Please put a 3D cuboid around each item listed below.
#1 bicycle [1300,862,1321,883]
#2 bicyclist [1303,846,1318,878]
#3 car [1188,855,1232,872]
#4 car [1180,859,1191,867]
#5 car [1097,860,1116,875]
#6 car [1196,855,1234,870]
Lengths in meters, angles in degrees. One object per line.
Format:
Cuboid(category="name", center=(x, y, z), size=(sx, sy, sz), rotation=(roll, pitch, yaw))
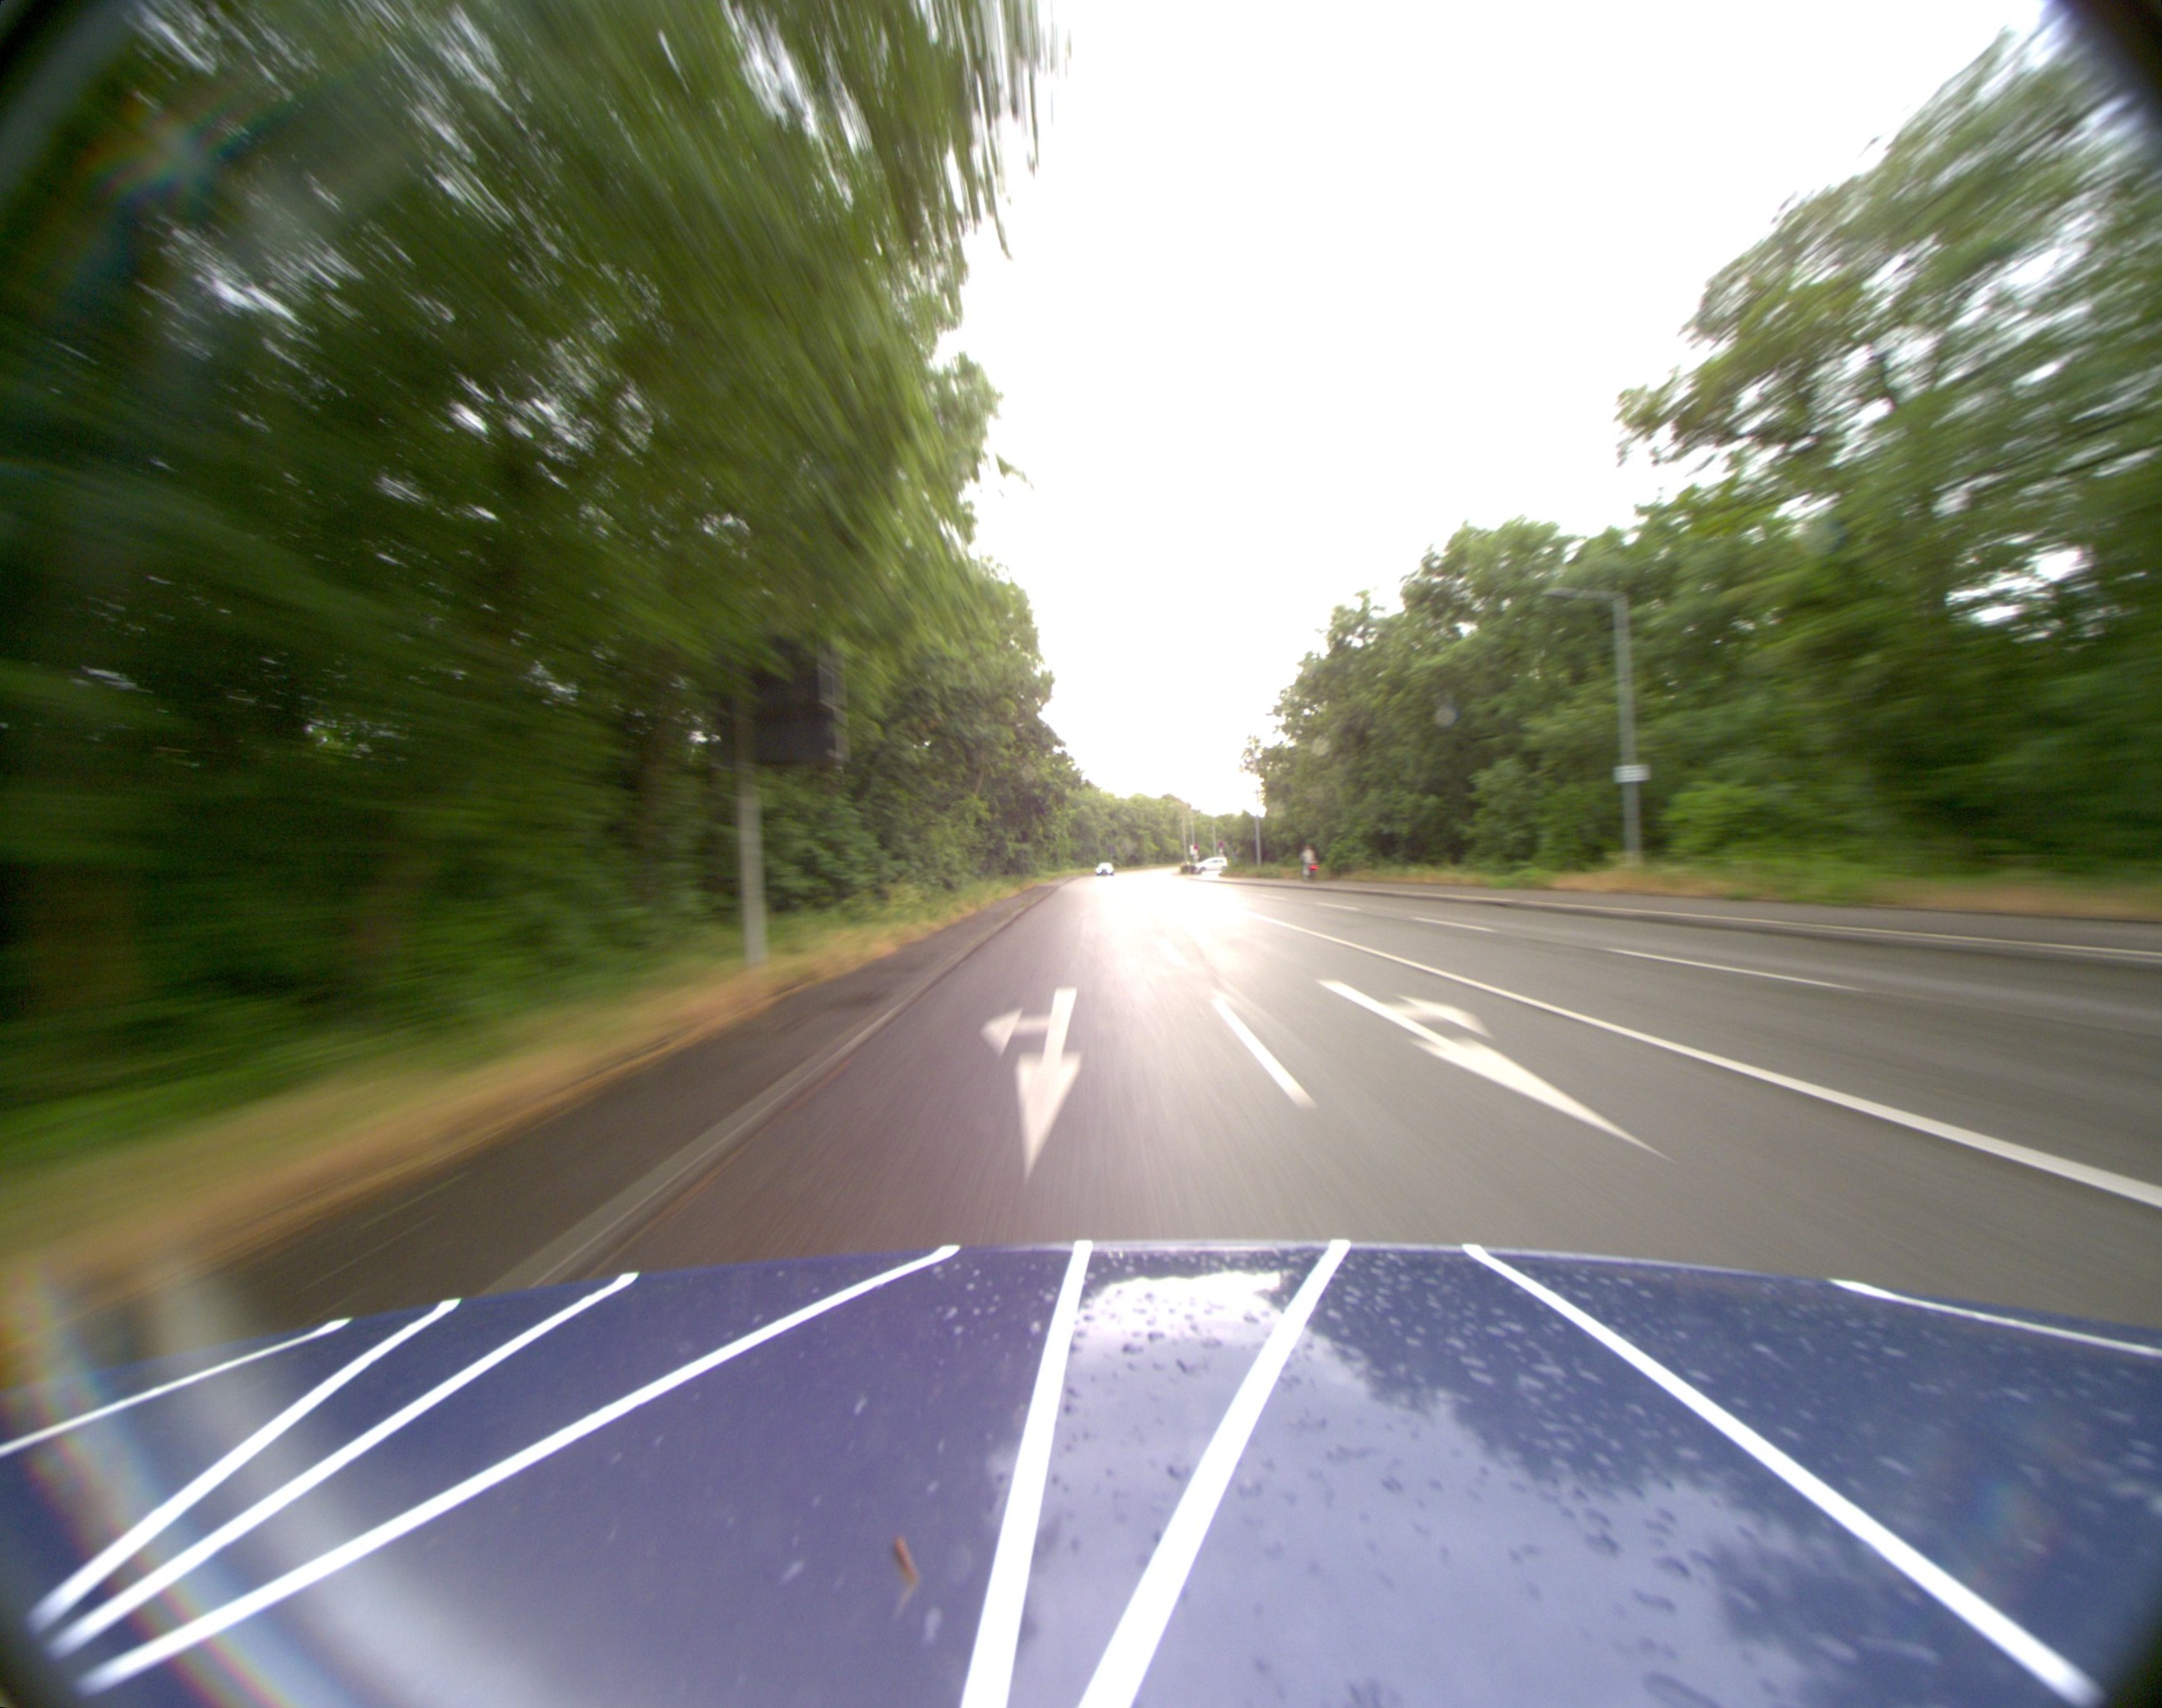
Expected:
Cuboid(category="bicycle", center=(11.424, 0.930, 37.893), size=(0.453, 0.998, 2.018), rotation=(-4, -1, 2))
Cuboid(category="bicyclist", center=(11.386, 0.378, 37.743), size=(0.580, 1.577, 0.700), rotation=(-1, 1, 5))
Cuboid(category="car", center=(14.783, 1.128, 87.077), size=(4.751, 1.707, 1.895), rotation=(-3, 0, 6))
Cuboid(category="car", center=(20.753, 1.817, 151.293), size=(1.855, 1.464, 3.917), rotation=(0, 0, 12))
Cuboid(category="car", center=(2.820, 1.488, 83.474), size=(1.998, 1.577, 4.001), rotation=(-1, 0, 3))
Cuboid(category="car", center=(16.332, 1.088, 92.588), size=(4.378, 1.592, 1.757), rotation=(-3, 0, 8))
